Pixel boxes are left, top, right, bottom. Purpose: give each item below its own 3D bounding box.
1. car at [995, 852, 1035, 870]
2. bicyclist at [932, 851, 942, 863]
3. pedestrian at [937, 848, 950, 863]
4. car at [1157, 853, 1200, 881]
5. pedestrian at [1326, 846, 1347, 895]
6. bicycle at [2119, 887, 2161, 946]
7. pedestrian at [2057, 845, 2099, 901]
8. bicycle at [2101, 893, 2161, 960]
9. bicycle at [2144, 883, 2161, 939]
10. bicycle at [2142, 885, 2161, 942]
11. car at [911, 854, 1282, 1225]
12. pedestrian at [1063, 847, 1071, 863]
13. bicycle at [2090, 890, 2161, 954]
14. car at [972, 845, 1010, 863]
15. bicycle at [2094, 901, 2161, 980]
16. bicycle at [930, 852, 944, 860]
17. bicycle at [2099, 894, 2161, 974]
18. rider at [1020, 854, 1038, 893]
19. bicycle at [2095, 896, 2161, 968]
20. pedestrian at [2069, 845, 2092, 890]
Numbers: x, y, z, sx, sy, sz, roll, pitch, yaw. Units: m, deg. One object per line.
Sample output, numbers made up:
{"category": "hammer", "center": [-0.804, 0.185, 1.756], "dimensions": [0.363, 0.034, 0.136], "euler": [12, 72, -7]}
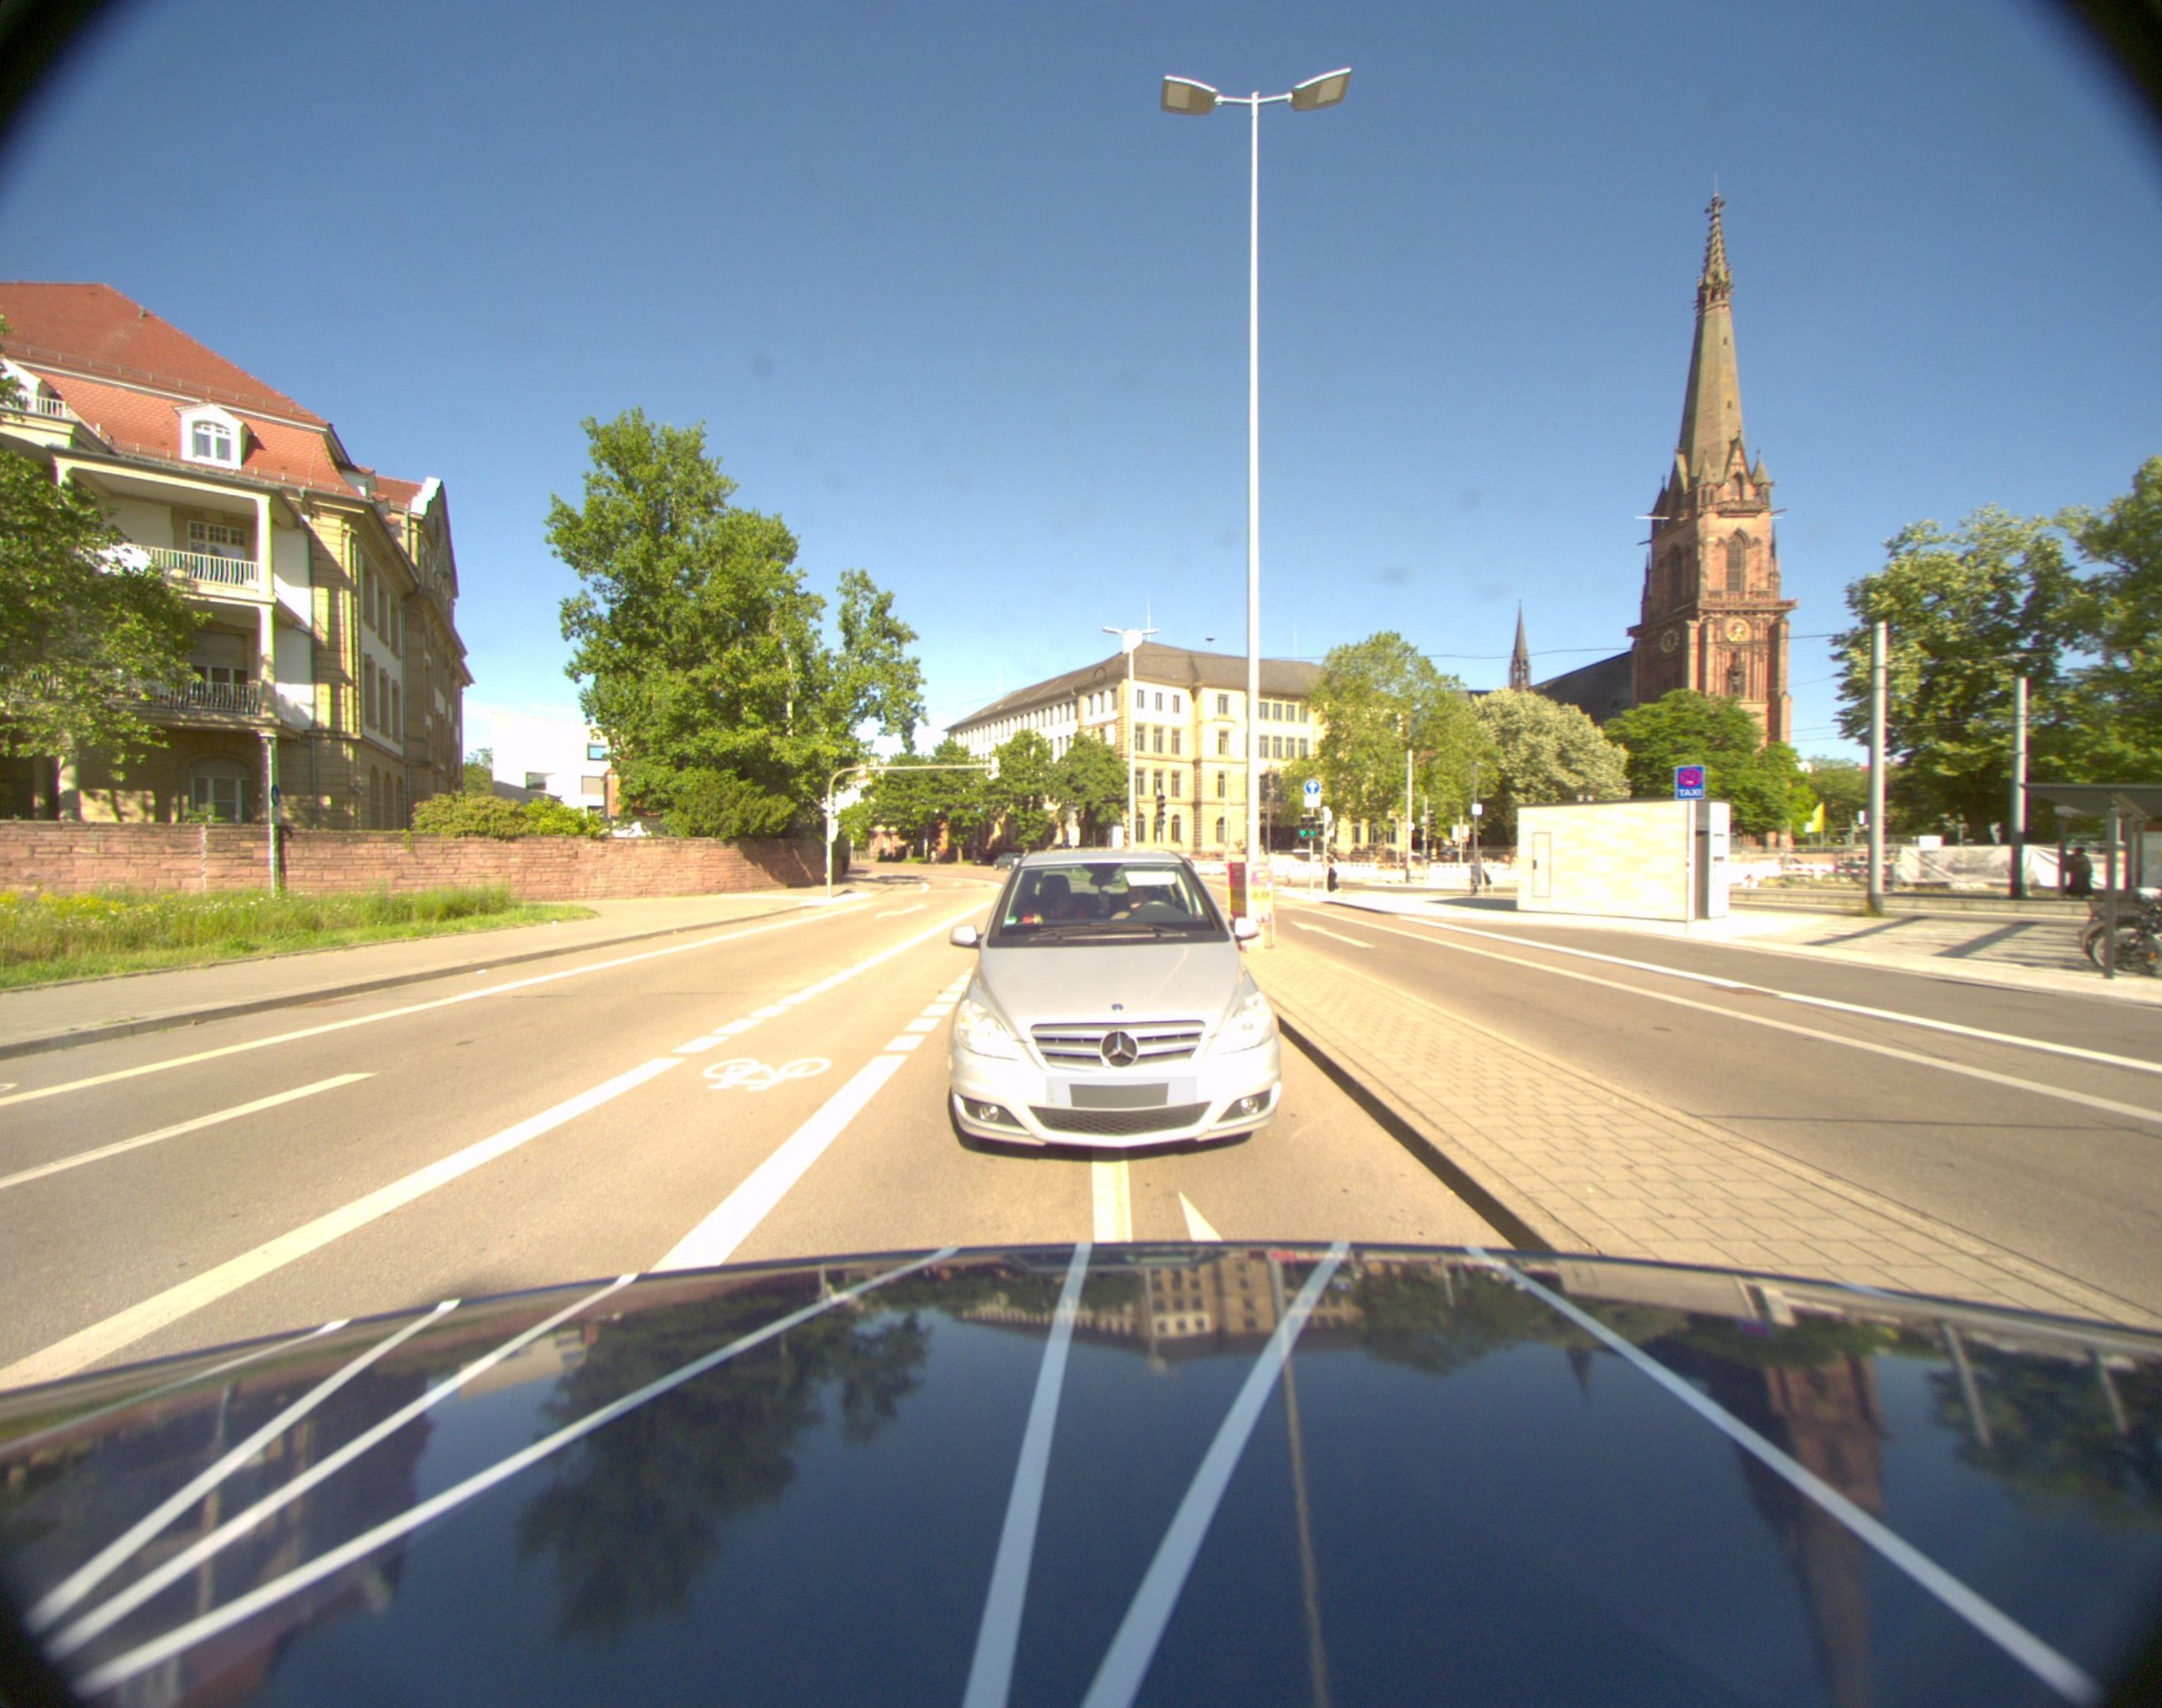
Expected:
{"category": "car", "center": [-6.091, 0.665, 70.068], "dimensions": [1.865, 1.533, 4.229], "euler": [1, 1, -34]}
{"category": "bicyclist", "center": [-17.299, 0.327, 91.386], "dimensions": [0.893, 1.377, 0.735], "euler": [1, 1, 44]}
{"category": "pedestrian", "center": [-17.425, 0.193, 96.199], "dimensions": [0.934, 1.812, 1.394], "euler": [1, 1, 45]}
{"category": "car", "center": [5.628, 0.697, 44.449], "dimensions": [1.793, 1.490, 4.574], "euler": [1, 1, -1]}
{"category": "pedestrian", "center": [9.831, 0.633, 29.281], "dimensions": [0.693, 1.844, 0.679], "euler": [0, 1, 12]}
{"category": "bicycle", "center": [19.123, 1.100, 12.940], "dimensions": [0.458, 1.003, 1.667], "euler": [-1, 1, -33]}
{"category": "pedestrian", "center": [32.586, 0.601, 24.839], "dimensions": [0.980, 1.769, 0.801], "euler": [-1, 1, -37]}
{"category": "bicycle", "center": [17.255, 1.149, 11.646], "dimensions": [0.458, 1.003, 1.899], "euler": [-1, 1, -33]}
{"category": "bicycle", "center": [20.483, 1.065, 13.602], "dimensions": [0.458, 1.003, 1.667], "euler": [-1, 1, -33]}
{"category": "bicycle", "center": [19.890, 1.077, 13.191], "dimensions": [0.458, 1.003, 1.667], "euler": [-1, 1, -33]}
{"category": "car", "center": [0.045, 0.870, 5.517], "dimensions": [1.706, 1.657, 3.913], "euler": [-1, 1, -1]}
{"category": "pedestrian", "center": [-1.522, 0.080, 81.219], "dimensions": [0.677, 1.714, 0.588], "euler": [-1, 1, -22]}
{"category": "bicycle", "center": [17.909, 1.128, 12.419], "dimensions": [0.458, 1.003, 1.667], "euler": [-1, 1, -33]}
{"category": "car", "center": [-10.729, -0.036, 90.754], "dimensions": [1.994, 2.002, 4.721], "euler": [0, 1, 32]}
{"category": "bicycle", "center": [14.695, 1.172, 9.957], "dimensions": [0.458, 1.003, 1.667], "euler": [-1, 1, -33]}
{"category": "bicycle", "center": [-17.383, 0.222, 91.453], "dimensions": [1.830, 0.985, 0.735], "euler": [0, 1, 44]}
{"category": "bicycle", "center": [15.196, 1.125, 10.271], "dimensions": [0.458, 1.055, 1.667], "euler": [-1, 1, -33]}
{"category": "rider", "center": [-2.209, 0.801, 32.235], "dimensions": [0.658, 1.610, 0.989], "euler": [-1, 1, 1]}
{"category": "bicycle", "center": [16.069, 1.161, 10.968], "dimensions": [0.458, 1.003, 1.667], "euler": [-1, 1, -33]}
{"category": "pedestrian", "center": [37.568, 0.501, 28.569], "dimensions": [0.404, 1.711, 0.419], "euler": [1, 1, 38]}
